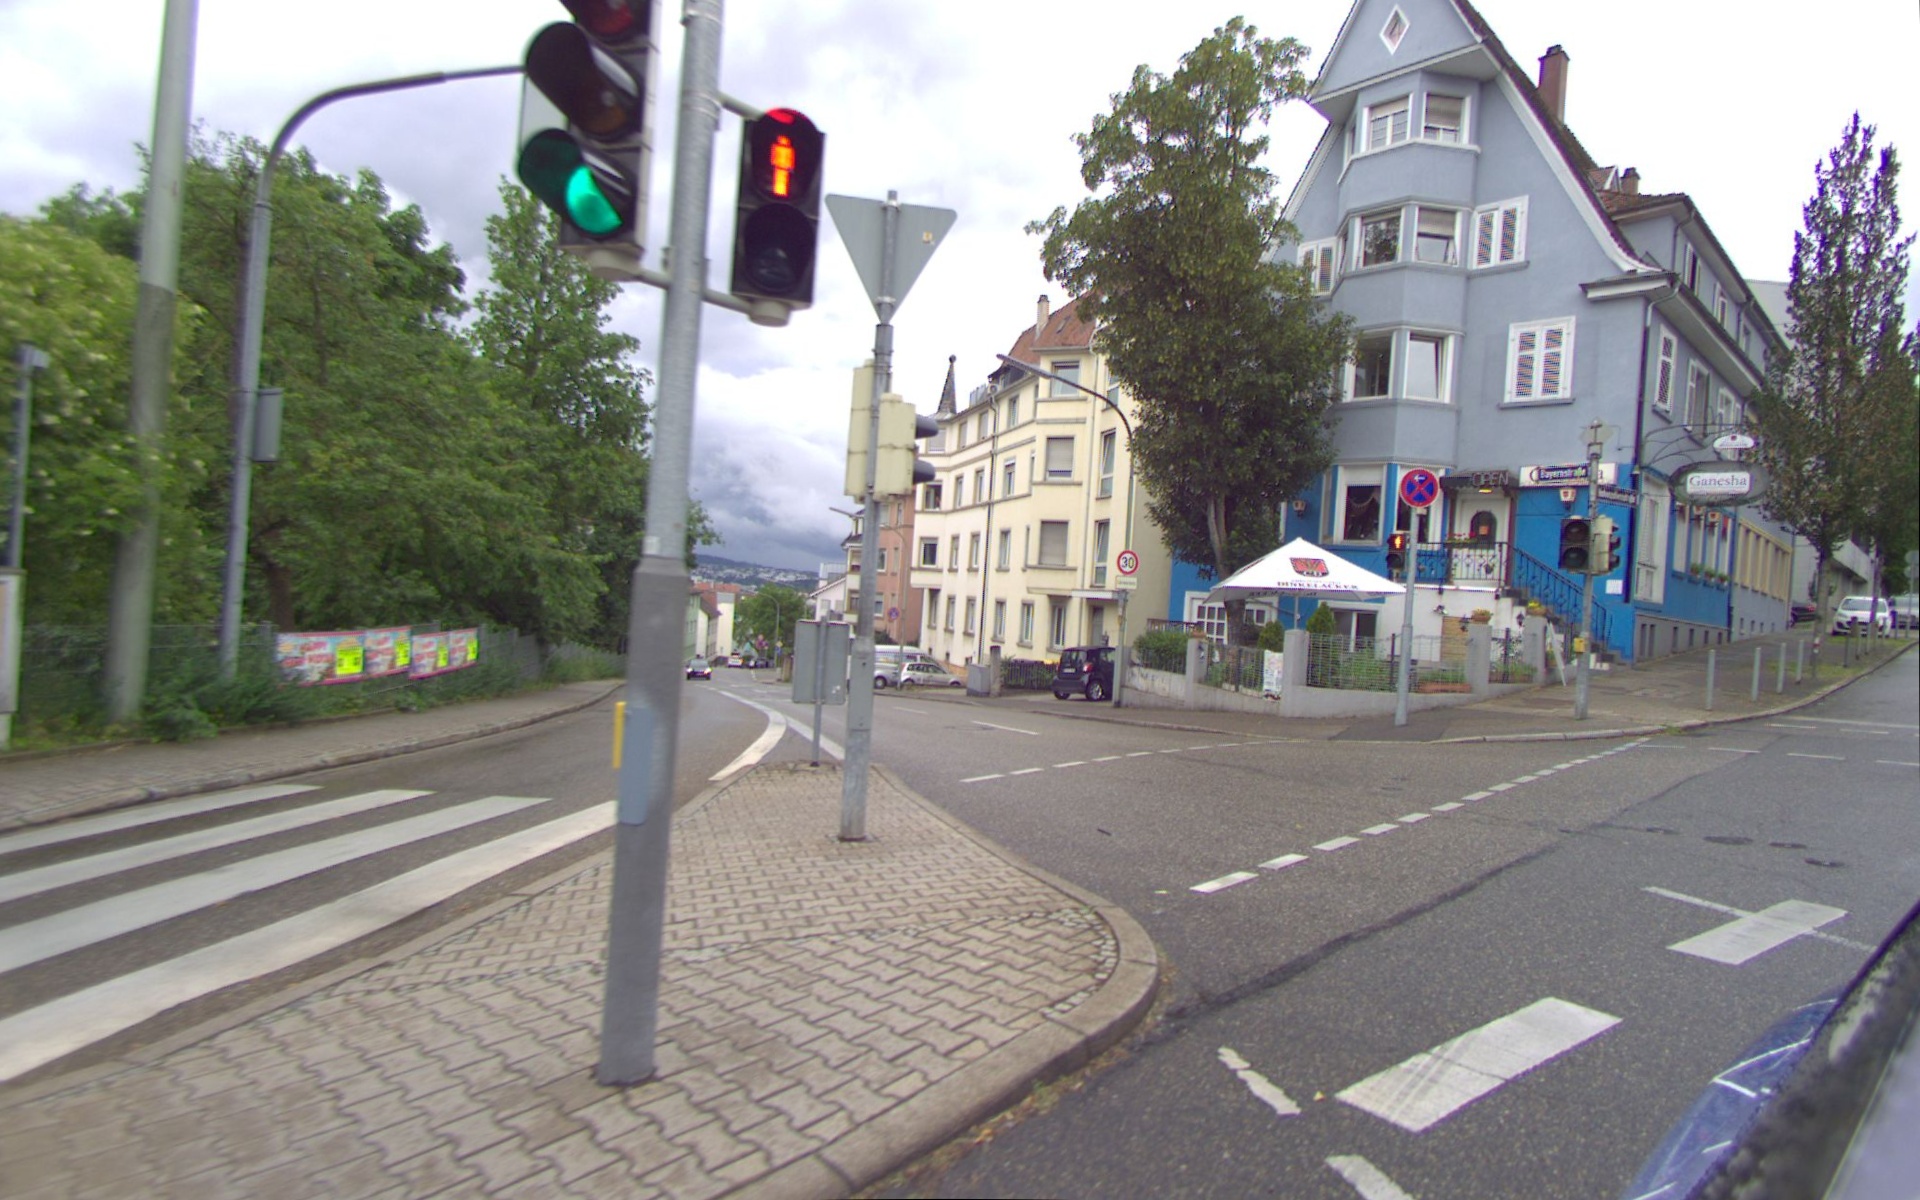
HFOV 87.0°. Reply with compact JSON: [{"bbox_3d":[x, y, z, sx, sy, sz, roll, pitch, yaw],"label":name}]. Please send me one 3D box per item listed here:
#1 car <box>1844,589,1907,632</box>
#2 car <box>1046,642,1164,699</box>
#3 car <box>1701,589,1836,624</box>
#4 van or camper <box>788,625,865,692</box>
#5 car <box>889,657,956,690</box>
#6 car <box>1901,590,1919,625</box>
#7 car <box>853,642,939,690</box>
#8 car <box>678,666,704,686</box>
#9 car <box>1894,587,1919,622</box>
[{"bbox_3d":[33.640,0.354,37.170,1.587,1.429,3.403,4,3,43],"label":"car"},{"bbox_3d":[4.227,2.025,29.517,3.082,1.518,1.640,0,-3,-34],"label":"car"},{"bbox_3d":[34.703,0.251,43.597,4.334,1.425,1.789,1,2,32],"label":"car"},{"bbox_3d":[-5.397,2.322,40.363,2.066,2.357,5.425,4,-4,-16],"label":"van or camper"},{"bbox_3d":[-1.870,3.633,50.191,2.990,1.423,1.308,5,-5,-20],"label":"car"},{"bbox_3d":[49.835,0.374,52.063,4.272,1.695,1.747,-1,3,-44],"label":"car"},{"bbox_3d":[-3.339,3.477,52.769,4.087,2.264,1.943,4,-8,-15],"label":"car"},{"bbox_3d":[-21.287,5.995,80.224,1.760,1.325,3.974,4,-3,-13],"label":"car"},{"bbox_3d":[44.124,0.214,46.331,1.816,1.477,4.665,4,4,45],"label":"car"}]
